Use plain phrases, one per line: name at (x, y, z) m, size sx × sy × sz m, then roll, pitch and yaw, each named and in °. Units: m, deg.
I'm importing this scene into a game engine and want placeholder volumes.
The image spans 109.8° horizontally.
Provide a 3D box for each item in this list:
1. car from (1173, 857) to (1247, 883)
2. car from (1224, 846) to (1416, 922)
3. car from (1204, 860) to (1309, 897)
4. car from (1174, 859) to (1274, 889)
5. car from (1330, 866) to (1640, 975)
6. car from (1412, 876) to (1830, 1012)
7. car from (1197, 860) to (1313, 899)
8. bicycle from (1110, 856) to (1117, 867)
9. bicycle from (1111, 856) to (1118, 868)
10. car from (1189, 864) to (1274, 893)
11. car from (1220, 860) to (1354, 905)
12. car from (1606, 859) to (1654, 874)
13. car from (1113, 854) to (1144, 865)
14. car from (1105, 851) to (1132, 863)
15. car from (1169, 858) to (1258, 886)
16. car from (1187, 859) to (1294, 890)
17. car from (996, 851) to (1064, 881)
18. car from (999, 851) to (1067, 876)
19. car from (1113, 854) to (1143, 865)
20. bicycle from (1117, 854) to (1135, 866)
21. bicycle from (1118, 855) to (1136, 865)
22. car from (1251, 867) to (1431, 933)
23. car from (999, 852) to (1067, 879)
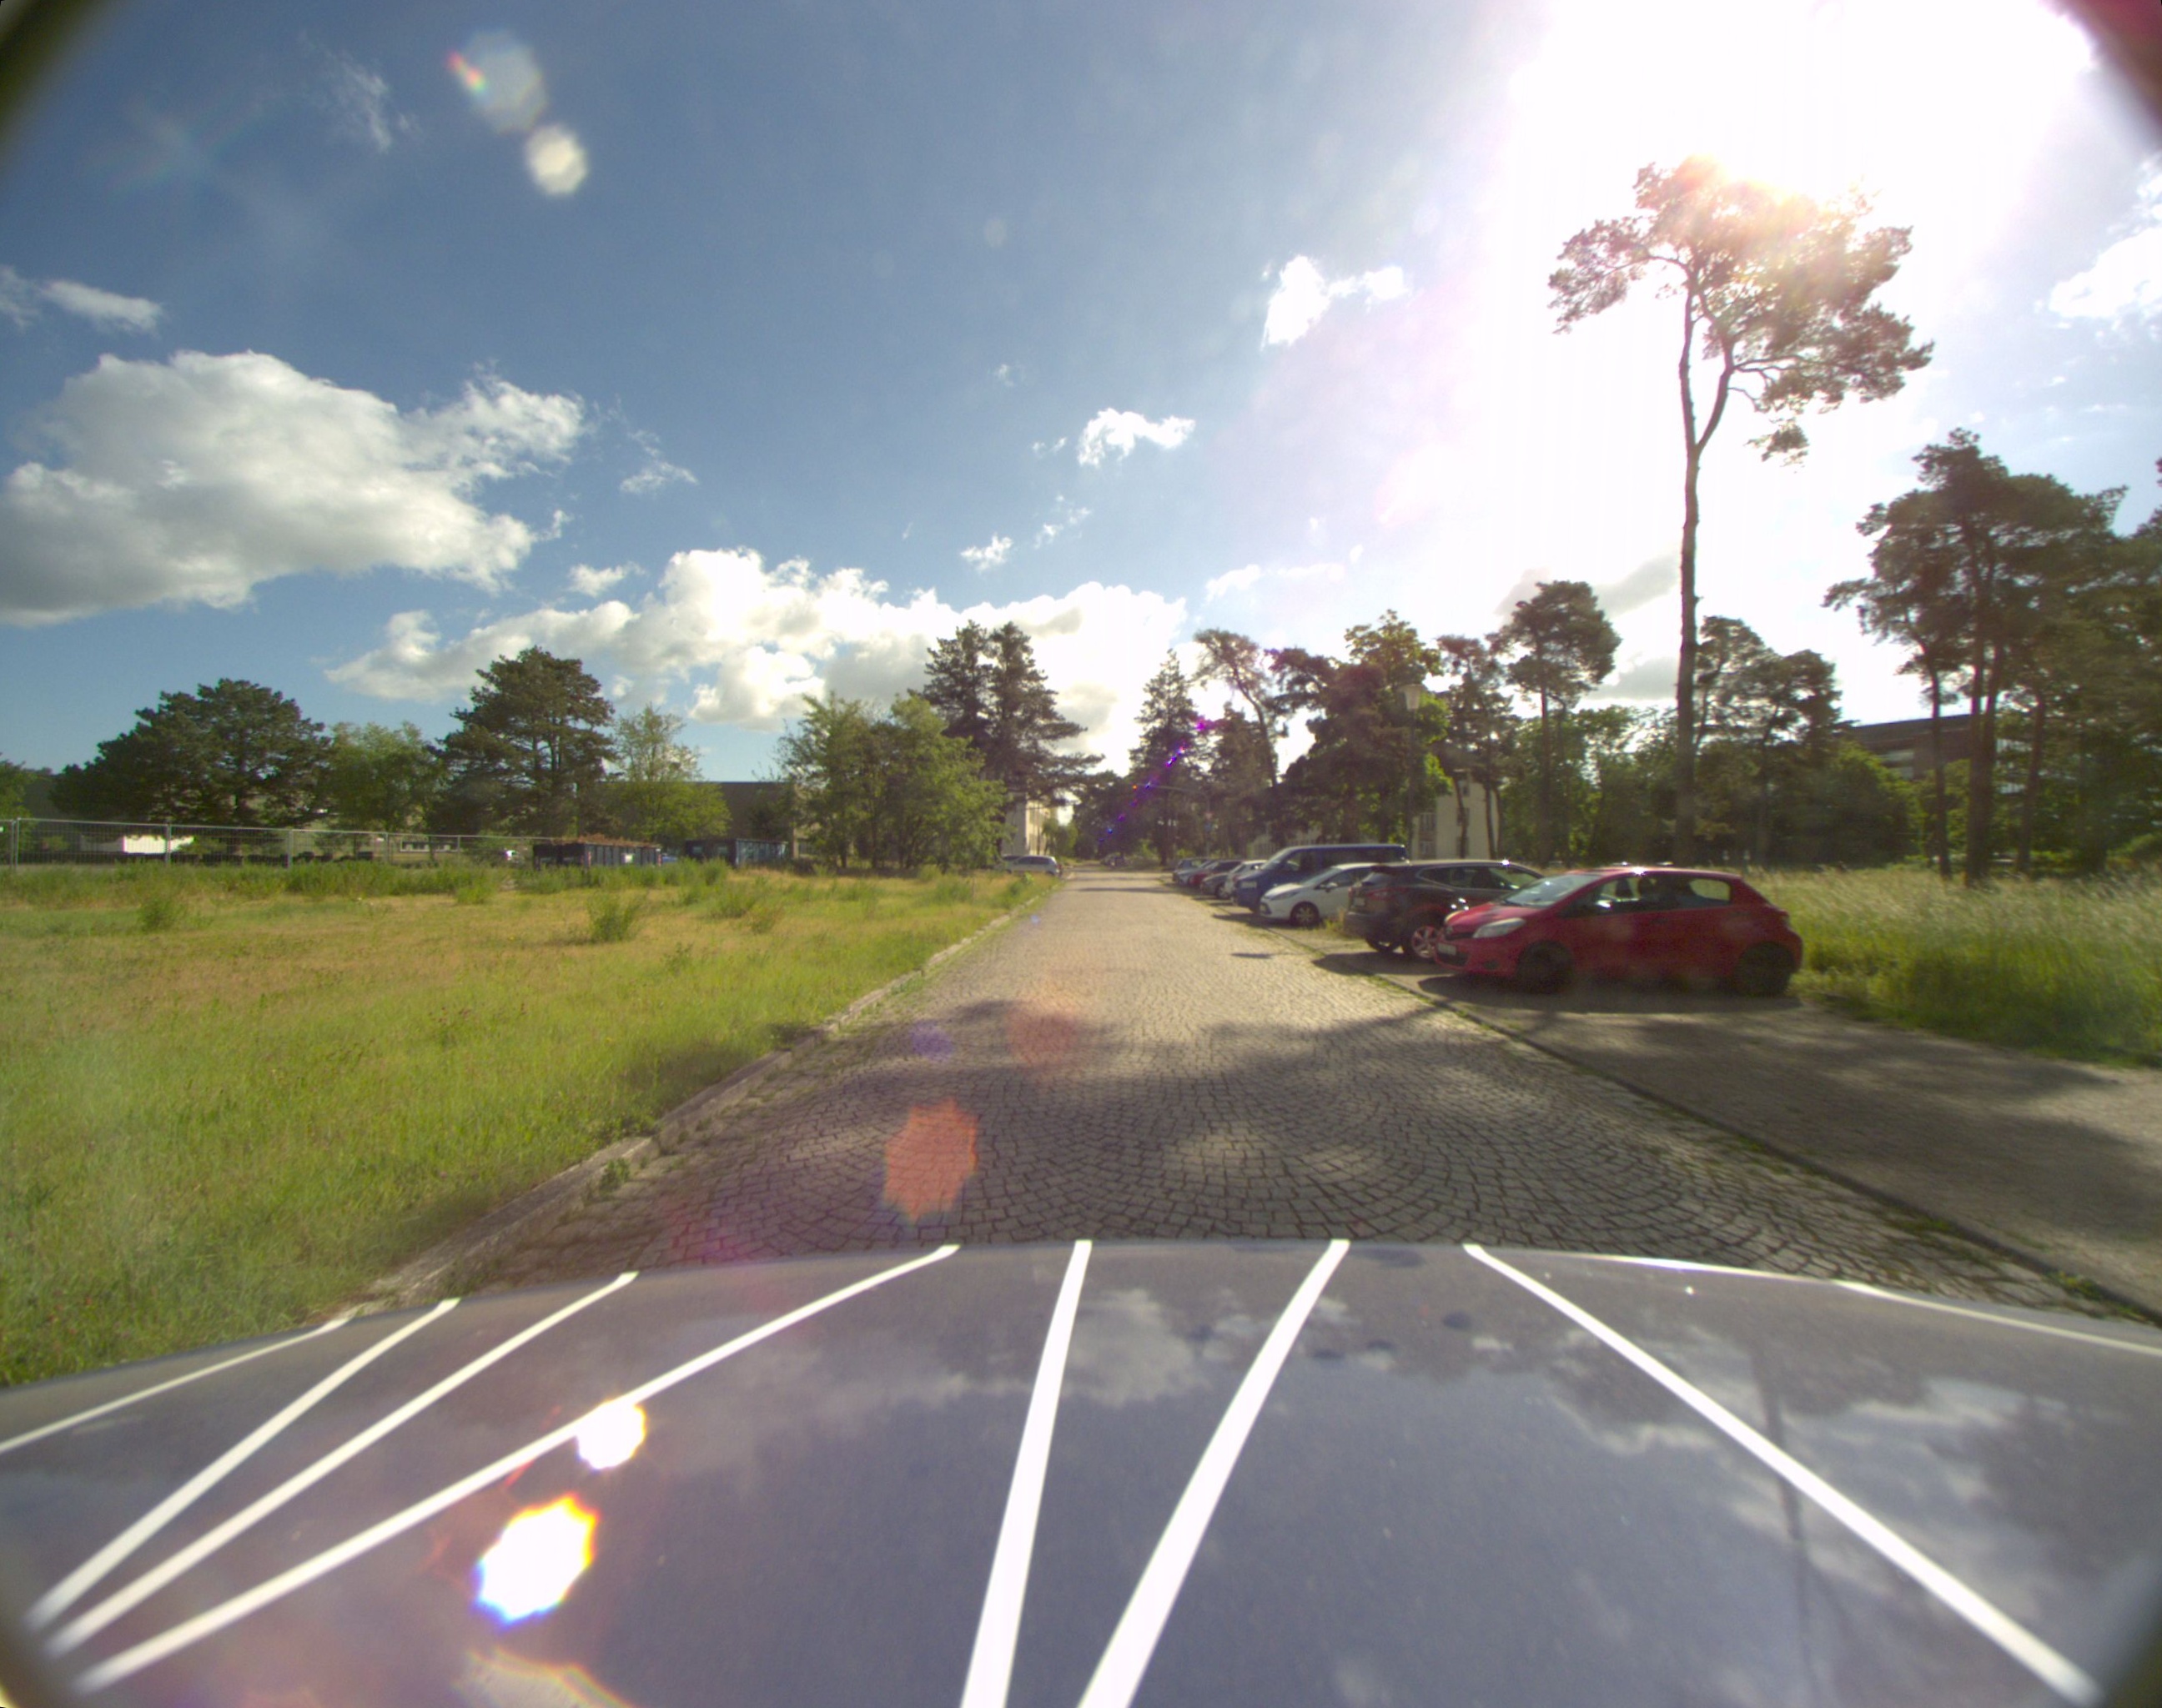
car at (7.590, 0.947, 44.956) m, size 4.037 × 1.474 × 1.949 m, roll -1°, pitch 0°, yaw 0°
car at (6.548, 0.794, 21.225) m, size 4.729 × 1.956 × 2.005 m, roll -1°, pitch 1°, yaw 2°
car at (7.395, 1.012, 32.292) m, size 4.086 × 1.444 × 1.822 m, roll -1°, pitch 1°, yaw 3°
car at (7.400, 1.027, 39.622) m, size 4.876 × 1.413 × 1.938 m, roll -1°, pitch 1°, yaw 2°
car at (6.342, 1.005, 12.312) m, size 3.963 × 1.558 × 1.974 m, roll -1°, pitch 0°, yaw 0°
car at (6.549, 1.051, 9.573) m, size 3.933 × 1.440 × 1.867 m, roll -1°, pitch 0°, yaw 0°
car at (6.658, 0.963, 29.427) m, size 4.086 × 1.417 × 1.923 m, roll -1°, pitch 0°, yaw 3°
bicycle at (3.918, 0.942, 92.710) m, size 0.621 × 1.276 × 2.114 m, roll -1°, pitch 1°, yaw -3°
bicycle at (4.014, 0.924, 90.531) m, size 0.621 × 1.342 × 2.114 m, roll -1°, pitch 1°, yaw -3°
car at (6.868, 1.125, 34.982) m, size 3.639 × 1.227 × 1.760 m, roll -1°, pitch 1°, yaw 3°
car at (7.107, 0.973, 26.529) m, size 4.206 × 1.466 × 1.824 m, roll -1°, pitch 0°, yaw 2°
car at (61.812, 1.418, 85.551) m, size 4.104 × 1.571 × 1.720 m, roll 1°, pitch 1°, yaw 3°
car at (6.547, 0.749, 105.636) m, size 4.044 × 1.493 × 1.817 m, roll 1°, pitch 1°, yaw -6°
car at (6.229, 0.540, 126.033) m, size 4.226 × 1.903 × 1.816 m, roll 1°, pitch 1°, yaw -8°
car at (7.347, 0.989, 42.344) m, size 4.593 × 1.443 × 1.984 m, roll -1°, pitch 1°, yaw -2°
car at (7.761, 0.999, 37.264) m, size 4.876 × 1.412 × 1.938 m, roll -1°, pitch 1°, yaw 2°
car at (-2.935, 0.672, 44.374) m, size 3.750 × 1.468 × 1.752 m, roll 3°, pitch 1°, yaw 0°
car at (-3.289, 0.635, 52.365) m, size 4.524 × 1.456 × 1.838 m, roll 3°, pitch 1°, yaw -1°
car at (6.673, 0.758, 108.659) m, size 4.044 × 1.514 × 1.817 m, roll 1°, pitch 1°, yaw -6°
bicycle at (5.547, 0.716, 93.828) m, size 2.113 × 1.276 × 0.621 m, roll -5°, pitch 1°, yaw -1°
bicycle at (5.839, 0.736, 96.072) m, size 2.114 × 1.276 × 0.621 m, roll -1°, pitch 1°, yaw -5°
car at (6.293, 1.086, 18.653) m, size 3.826 × 1.432 × 1.682 m, roll -1°, pitch 1°, yaw -1°
car at (-2.932, 0.713, 47.120) m, size 4.014 × 1.432 × 1.844 m, roll 3°, pitch 0°, yaw 0°
